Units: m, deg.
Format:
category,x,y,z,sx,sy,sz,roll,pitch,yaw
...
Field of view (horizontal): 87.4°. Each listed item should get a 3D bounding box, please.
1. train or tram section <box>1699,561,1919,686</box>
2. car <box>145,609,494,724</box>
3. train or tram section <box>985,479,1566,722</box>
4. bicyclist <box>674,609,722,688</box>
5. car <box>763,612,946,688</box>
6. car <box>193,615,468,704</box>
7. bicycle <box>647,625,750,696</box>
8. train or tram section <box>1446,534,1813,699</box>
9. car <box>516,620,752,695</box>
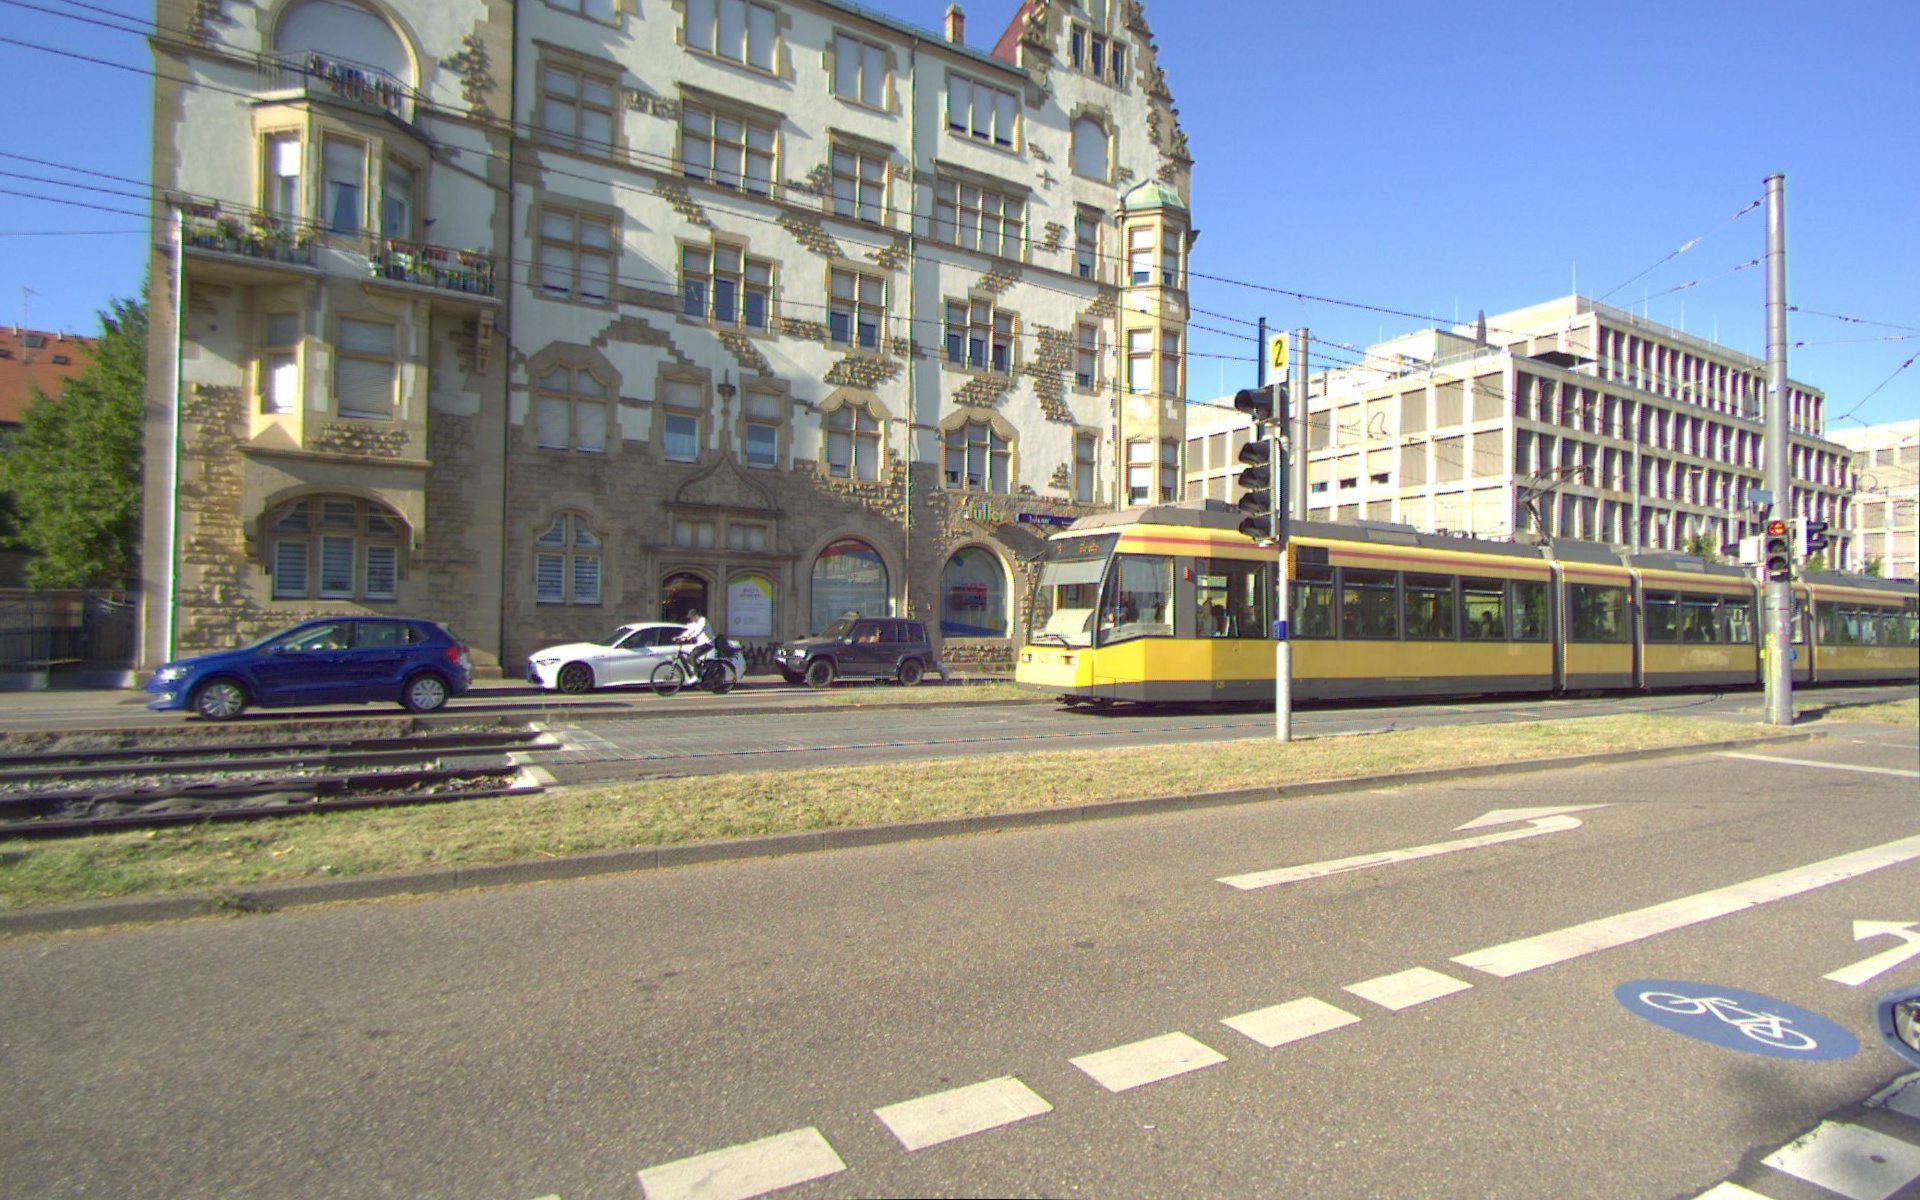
category,x,y,z,sx,sy,sz,roll,pitch,yaw
train or tram section,28.475,0.848,32.738,12.017,3.535,2.798,2,-2,-32
car,-9.324,0.936,14.851,4.119,1.476,1.807,2,-3,-37
train or tram section,6.697,0.196,19.247,13.055,3.535,2.798,2,-2,-32
bicyclist,-5.372,0.984,20.596,0.776,1.583,0.682,2,-2,-30
car,-2.563,1.198,24.765,4.172,1.698,1.707,1,1,-33
car,-11.682,1.067,18.865,4.179,1.450,1.699,2,1,-34
bicycle,-5.361,1.219,20.603,1.924,1.400,0.681,2,-2,-30
train or tram section,17.823,0.548,26.143,13.055,3.535,2.798,2,-2,-32
car,-7.049,1.209,21.924,4.606,1.442,1.707,2,0,-33
